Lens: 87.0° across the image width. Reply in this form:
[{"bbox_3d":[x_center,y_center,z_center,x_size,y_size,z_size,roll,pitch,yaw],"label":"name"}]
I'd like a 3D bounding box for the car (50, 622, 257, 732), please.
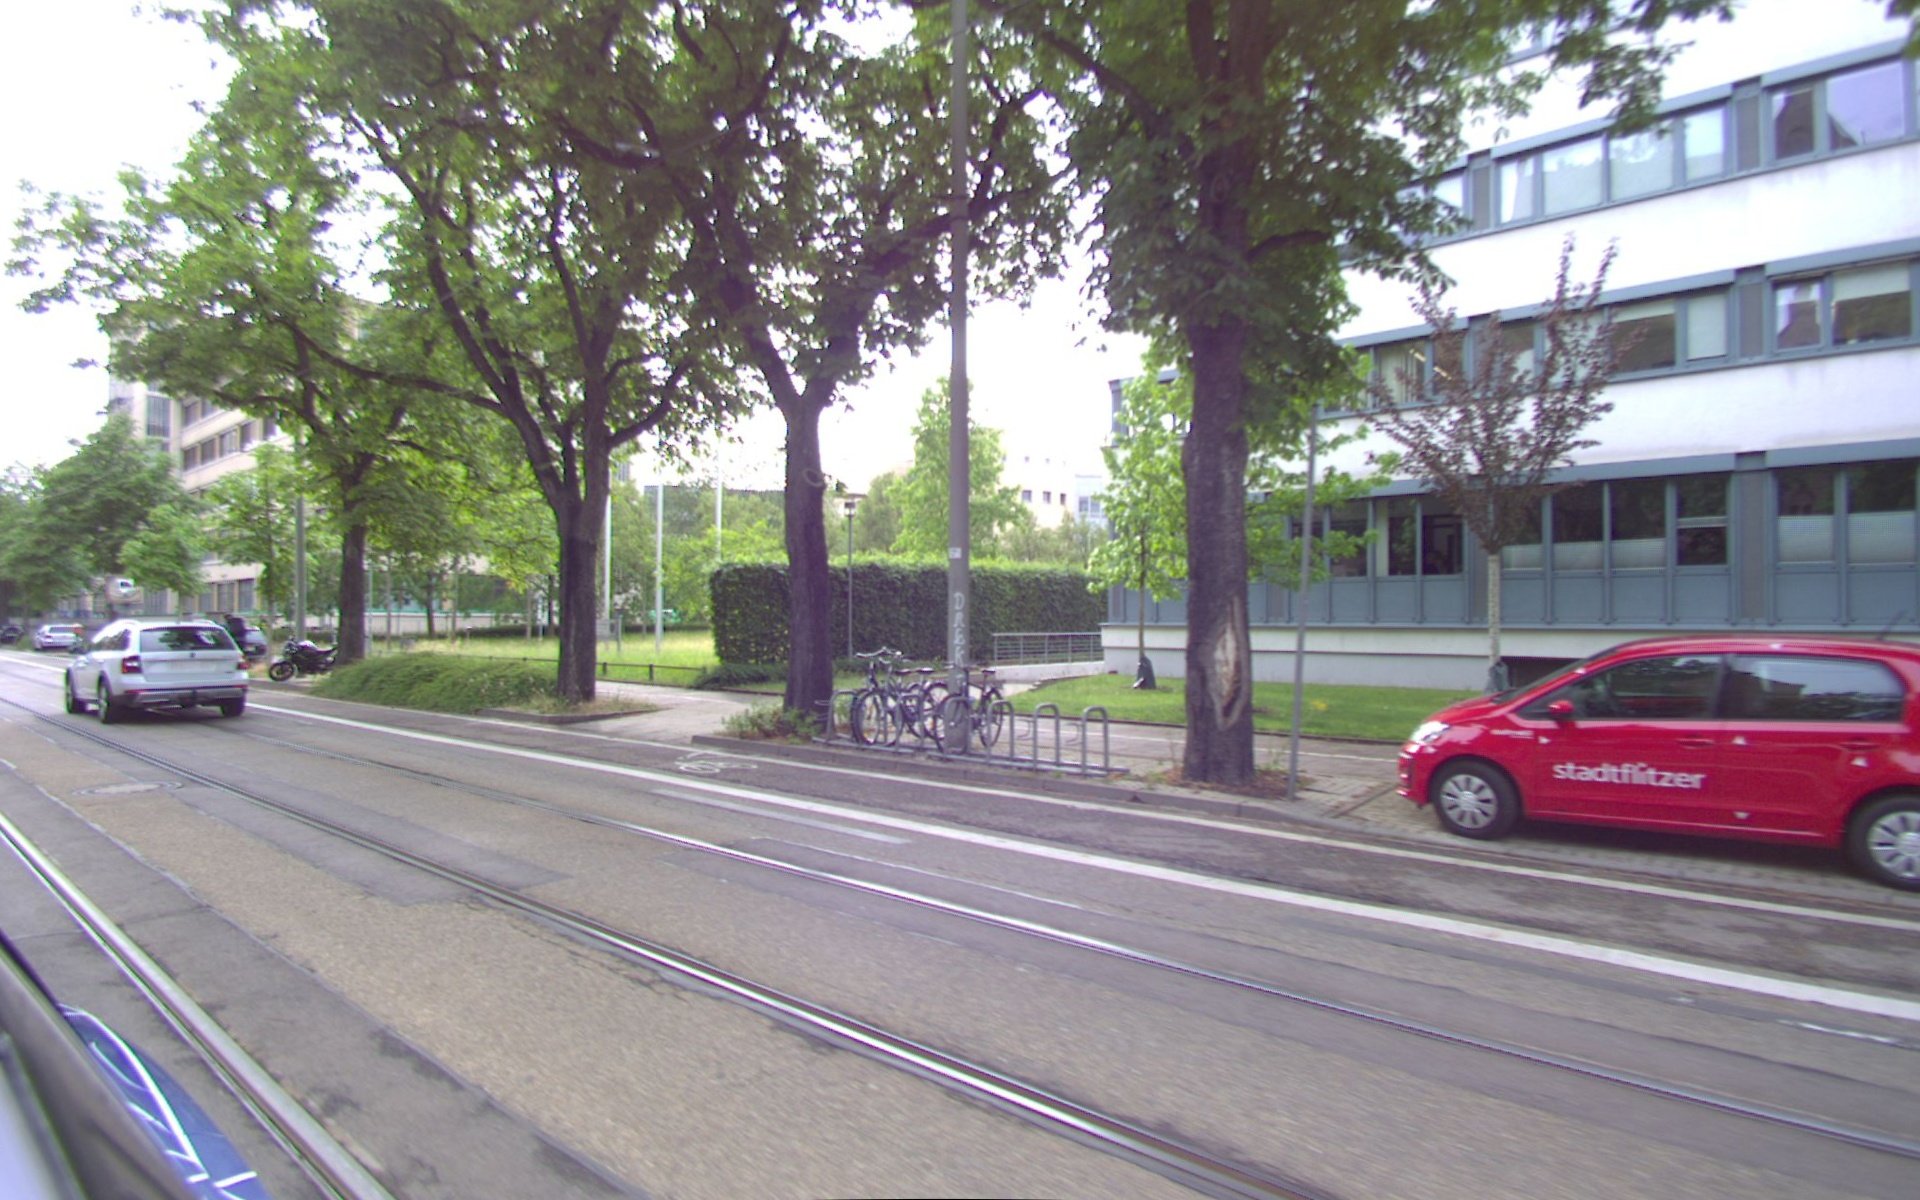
[{"bbox_3d":[-12.883,1.117,16.084,4.257,1.510,1.723,-1,-2,40],"label":"car"}]

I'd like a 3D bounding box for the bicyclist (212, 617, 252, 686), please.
[{"bbox_3d":[-17.000,1.184,23.628,0.955,1.549,0.628,-1,-1,45],"label":"bicyclist"}]

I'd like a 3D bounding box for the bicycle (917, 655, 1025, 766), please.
[{"bbox_3d":[0.152,1.210,11.488,0.614,1.100,1.460,0,0,28],"label":"bicycle"}]

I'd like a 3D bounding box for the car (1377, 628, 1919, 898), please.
[{"bbox_3d":[5.147,0.982,7.185,3.752,1.458,1.613,0,1,38],"label":"car"}]

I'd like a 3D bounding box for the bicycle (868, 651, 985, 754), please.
[{"bbox_3d":[-0.390,1.220,12.397,0.617,1.149,1.454,-1,-2,39],"label":"bicycle"}]

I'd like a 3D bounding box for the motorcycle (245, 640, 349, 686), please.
[{"bbox_3d":[-16.913,1.604,25.844,2.100,1.111,0.776,0,0,-8],"label":"motorcycle"}]

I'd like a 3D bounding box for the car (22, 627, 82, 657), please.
[{"bbox_3d":[-47.211,2.149,52.618,3.949,1.444,1.825,0,0,41],"label":"car"}]

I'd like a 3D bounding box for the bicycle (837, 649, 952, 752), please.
[{"bbox_3d":[-0.801,1.223,12.693,0.617,1.149,1.454,-1,0,39],"label":"bicycle"}]

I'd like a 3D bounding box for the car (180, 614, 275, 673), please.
[{"bbox_3d":[-23.141,1.311,31.934,4.001,1.722,1.791,0,0,44],"label":"car"}]
